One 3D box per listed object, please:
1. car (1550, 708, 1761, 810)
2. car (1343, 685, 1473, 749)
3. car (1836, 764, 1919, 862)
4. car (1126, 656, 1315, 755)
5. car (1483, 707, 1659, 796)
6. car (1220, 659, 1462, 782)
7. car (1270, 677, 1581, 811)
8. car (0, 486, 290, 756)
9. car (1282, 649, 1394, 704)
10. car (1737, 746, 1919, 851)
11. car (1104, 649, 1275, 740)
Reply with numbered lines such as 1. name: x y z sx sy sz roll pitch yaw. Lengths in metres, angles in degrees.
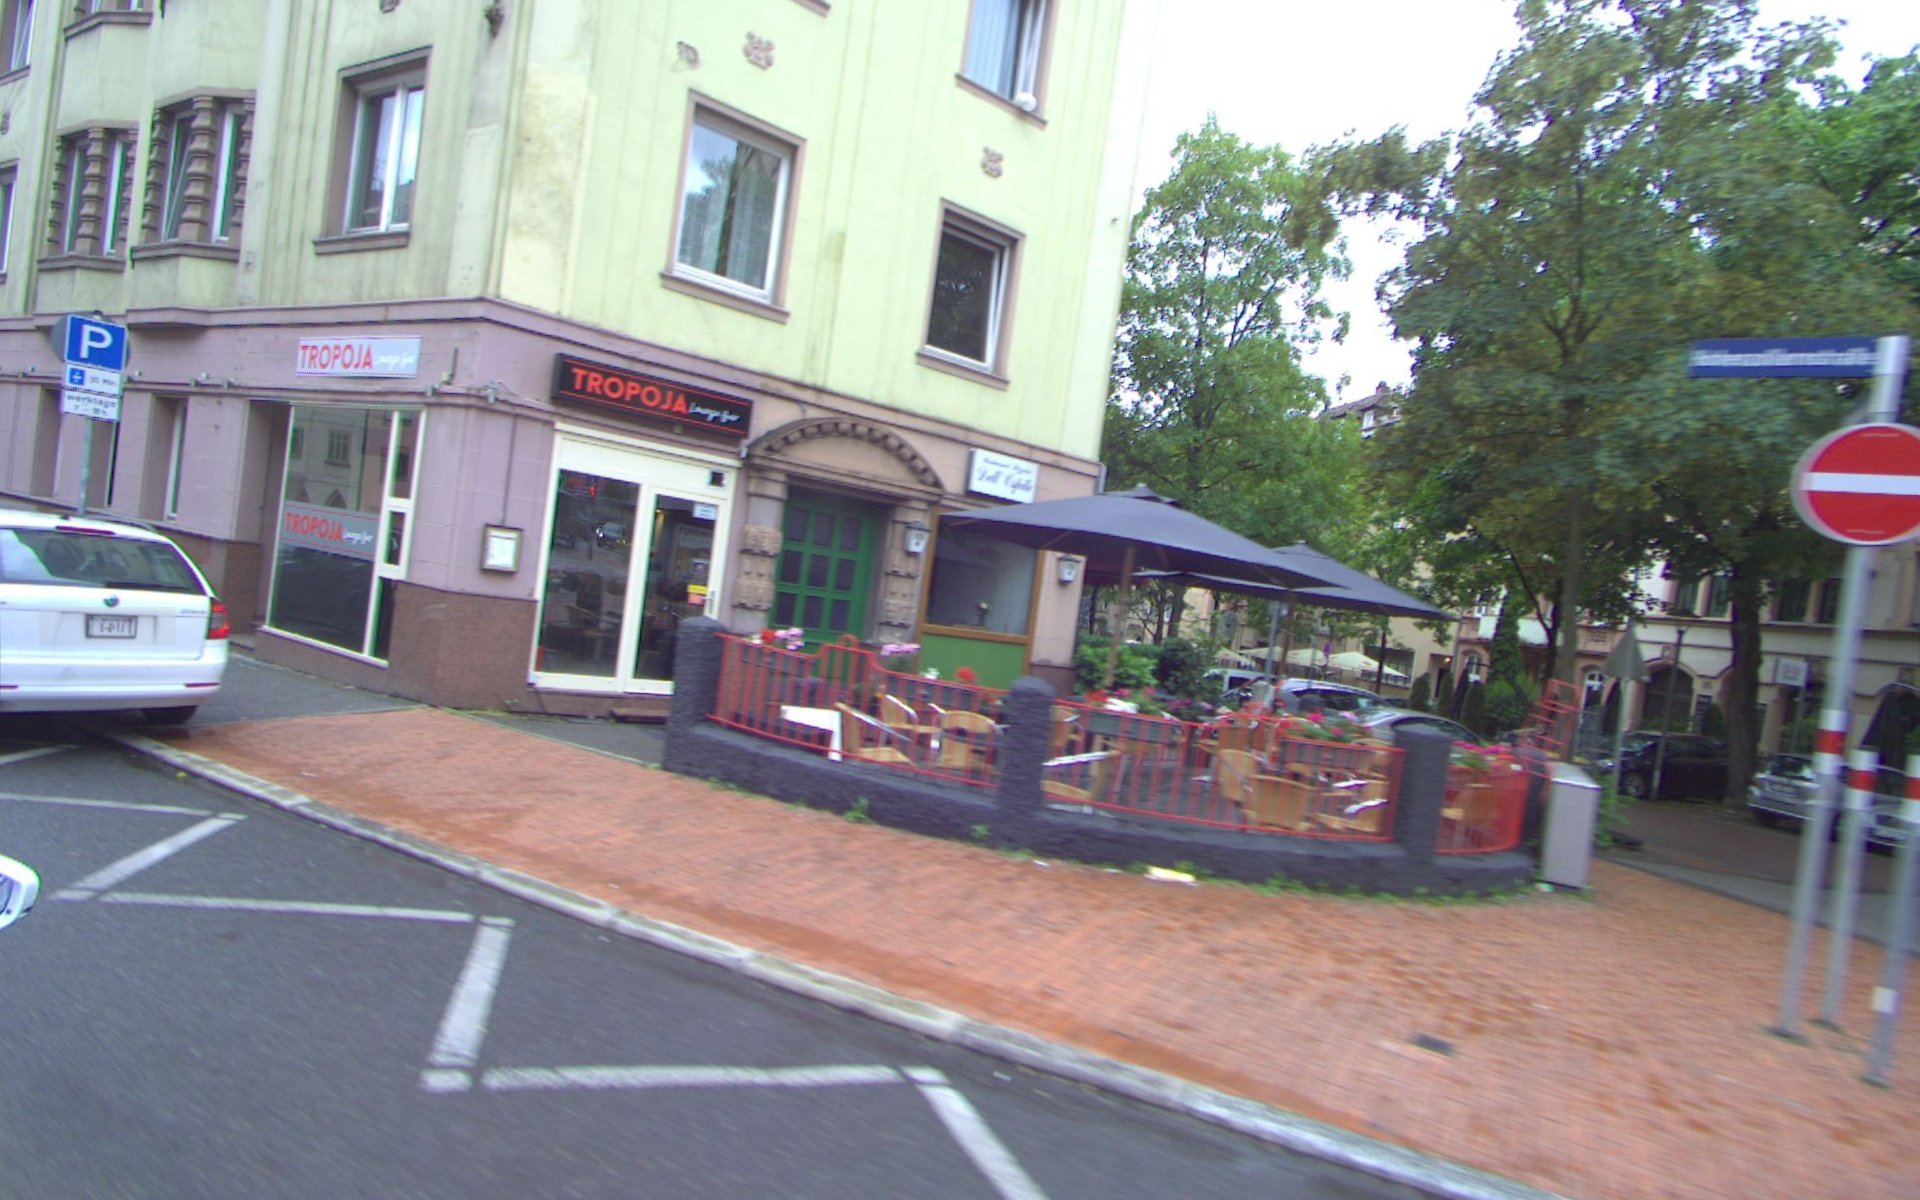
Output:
1. car: 16.220 3.686 23.551 3.719 1.686 1.678 8 -1 -6
2. car: 15.312 3.989 34.436 3.590 1.554 1.680 8 -1 -9
3. car: 17.801 3.907 17.291 4.262 1.412 1.706 9 -1 -9
4. car: 6.312 2.552 24.578 3.933 1.747 1.791 8 -1 -9
5. car: 15.899 3.926 26.246 3.590 1.686 1.588 8 -1 -9
6. car: 7.461 2.342 19.880 3.933 1.747 1.791 8 -1 -9
7. car: 8.048 2.482 17.561 4.570 1.545 1.791 9 -1 -9
8. car: -7.224 -0.029 7.524 4.417 1.583 1.803 7 -1 30
9. car: 14.723 2.967 39.309 3.590 1.554 1.680 8 -1 -9
10. car: 17.424 3.900 19.574 3.442 1.482 1.589 8 -1 -9
11. car: 6.140 2.517 27.113 3.933 1.809 1.791 8 -1 -9
